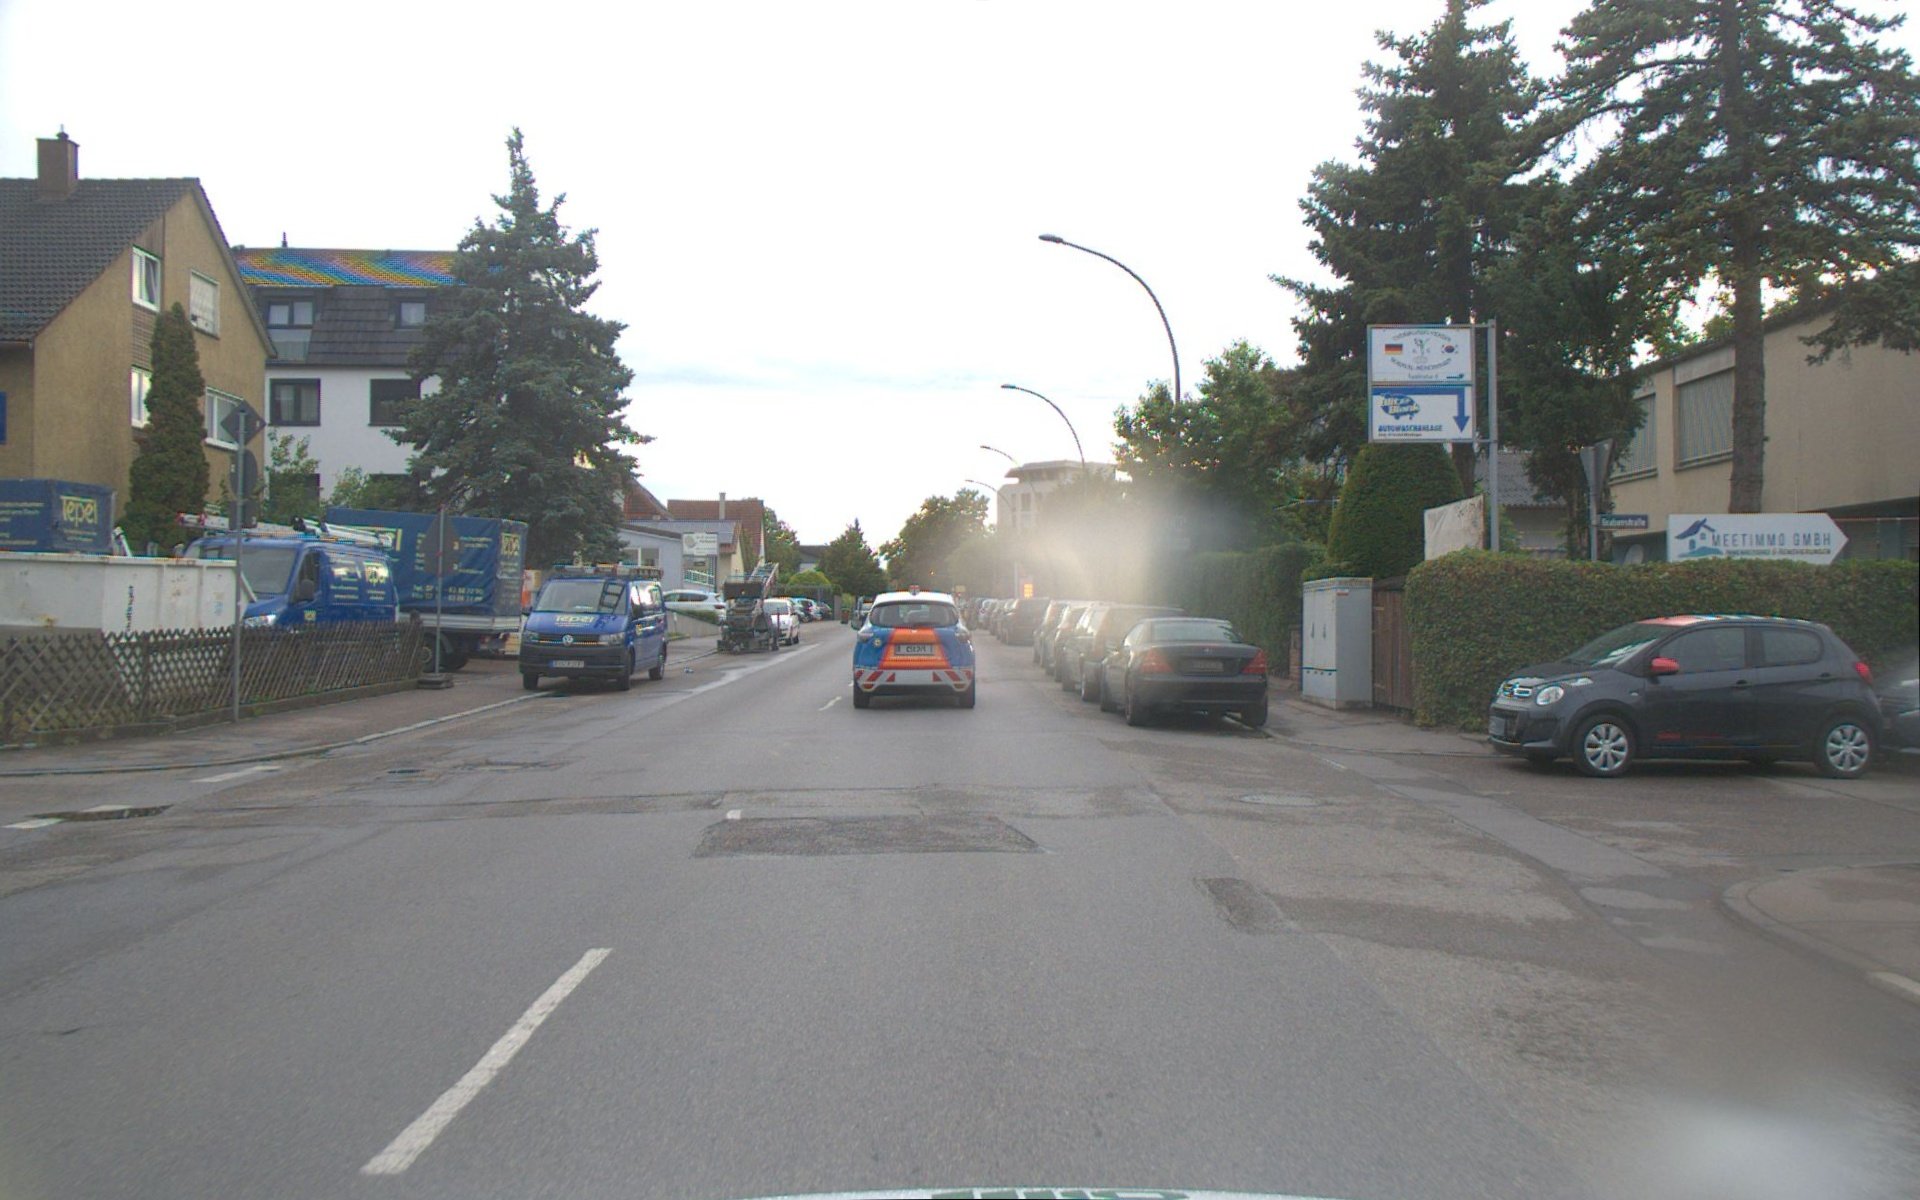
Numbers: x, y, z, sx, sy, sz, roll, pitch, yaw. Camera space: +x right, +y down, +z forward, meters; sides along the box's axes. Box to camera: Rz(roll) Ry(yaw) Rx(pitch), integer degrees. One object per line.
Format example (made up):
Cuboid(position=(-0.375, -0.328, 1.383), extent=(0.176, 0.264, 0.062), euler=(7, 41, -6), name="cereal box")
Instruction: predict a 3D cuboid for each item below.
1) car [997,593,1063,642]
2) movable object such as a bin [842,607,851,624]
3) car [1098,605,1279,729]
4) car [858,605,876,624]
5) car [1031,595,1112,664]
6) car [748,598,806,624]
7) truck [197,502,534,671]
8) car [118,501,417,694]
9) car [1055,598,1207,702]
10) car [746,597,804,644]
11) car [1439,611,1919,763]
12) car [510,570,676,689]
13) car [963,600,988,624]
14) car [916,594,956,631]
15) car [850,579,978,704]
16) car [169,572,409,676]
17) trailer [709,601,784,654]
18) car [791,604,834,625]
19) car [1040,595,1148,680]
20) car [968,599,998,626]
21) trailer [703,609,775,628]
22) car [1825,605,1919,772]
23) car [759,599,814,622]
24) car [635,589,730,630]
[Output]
Cuboid(position=(2.197, 0.562, 53.118), extent=(1.677, 1.464, 4.523), euler=(1, -1, -3), name="car")
Cuboid(position=(-8.182, 1.110, 119.091), extent=(0.568, 1.225, 0.318), euler=(1, 0, -1), name="movable object such as a bin")
Cuboid(position=(2.838, 0.790, 21.311), extent=(1.558, 1.364, 4.091), euler=(3, 0, -2), name="car")
Cuboid(position=(-7.527, 1.179, 134.073), extent=(1.358, 1.509, 3.782), euler=(0, 0, -3), name="car")
Cuboid(position=(2.475, 0.631, 37.376), extent=(1.456, 1.464, 3.806), euler=(1, 0, -1), name="car")
Cuboid(position=(-12.017, 0.699, 108.699), extent=(3.686, 1.604, 1.653), euler=(1, -1, -5), name="car")
Cuboid(position=(-11.828, -0.253, 33.275), extent=(5.791, 3.127, 2.449), euler=(1, -1, 0), name="truck")
Cuboid(position=(-10.567, -0.006, 25.915), extent=(2.033, 2.612, 6.201), euler=(1, -1, 0), name="car")
Cuboid(position=(2.573, 0.733, 25.927), extent=(1.623, 1.444, 4.774), euler=(1, -1, -3), name="car")
Cuboid(position=(-6.179, 0.679, 55.500), extent=(1.525, 1.458, 3.999), euler=(1, -1, -1), name="car")
Cuboid(position=(6.863, 0.802, 15.917), extent=(3.907, 1.288, 1.950), euler=(1, -1, -3), name="car")
Cuboid(position=(-6.579, 0.493, 30.261), extent=(1.953, 1.981, 5.364), euler=(0, 0, -1), name="car")
Cuboid(position=(1.111, 0.880, 123.494), extent=(1.617, 1.701, 3.998), euler=(1, -1, -3), name="car")
Cuboid(position=(-1.087, 0.558, 73.217), extent=(1.617, 1.548, 3.998), euler=(1, -1, -3), name="car")
Cuboid(position=(-0.659, 0.571, 23.783), extent=(1.696, 1.659, 3.493), euler=(0, -1, -2), name="car")
Cuboid(position=(-12.314, 0.436, 30.506), extent=(3.633, 1.780, 1.778), euler=(1, -1, 0), name="car")
Cuboid(position=(-6.144, 0.761, 48.070), extent=(1.683, 1.282, 5.242), euler=(1, 2, -3), name="trailer")
Cuboid(position=(-11.126, 1.078, 124.985), extent=(3.217, 1.473, 1.478), euler=(-1, 0, -5), name="car")
Cuboid(position=(2.489, 0.660, 31.477), extent=(1.624, 1.474, 3.828), euler=(1, 0, -2), name="car")
Cuboid(position=(1.383, 0.778, 101.726), extent=(1.617, 1.548, 3.998), euler=(1, -1, -3), name="car")
Cuboid(position=(-12.738, 1.083, 95.629), extent=(3.941, 1.012, 1.654), euler=(1, -1, -2), name="trailer")
Cuboid(position=(10.719, 0.874, 16.192), extent=(3.542, 1.565, 1.859), euler=(1, -1, -3), name="car")
Cuboid(position=(-11.850, 0.707, 113.064), extent=(3.686, 1.509, 1.653), euler=(1, -1, -5), name="car")
Cuboid(position=(-11.512, 0.387, 68.820), extent=(3.684, 1.595, 1.654), euler=(1, -1, -3), name="car")
